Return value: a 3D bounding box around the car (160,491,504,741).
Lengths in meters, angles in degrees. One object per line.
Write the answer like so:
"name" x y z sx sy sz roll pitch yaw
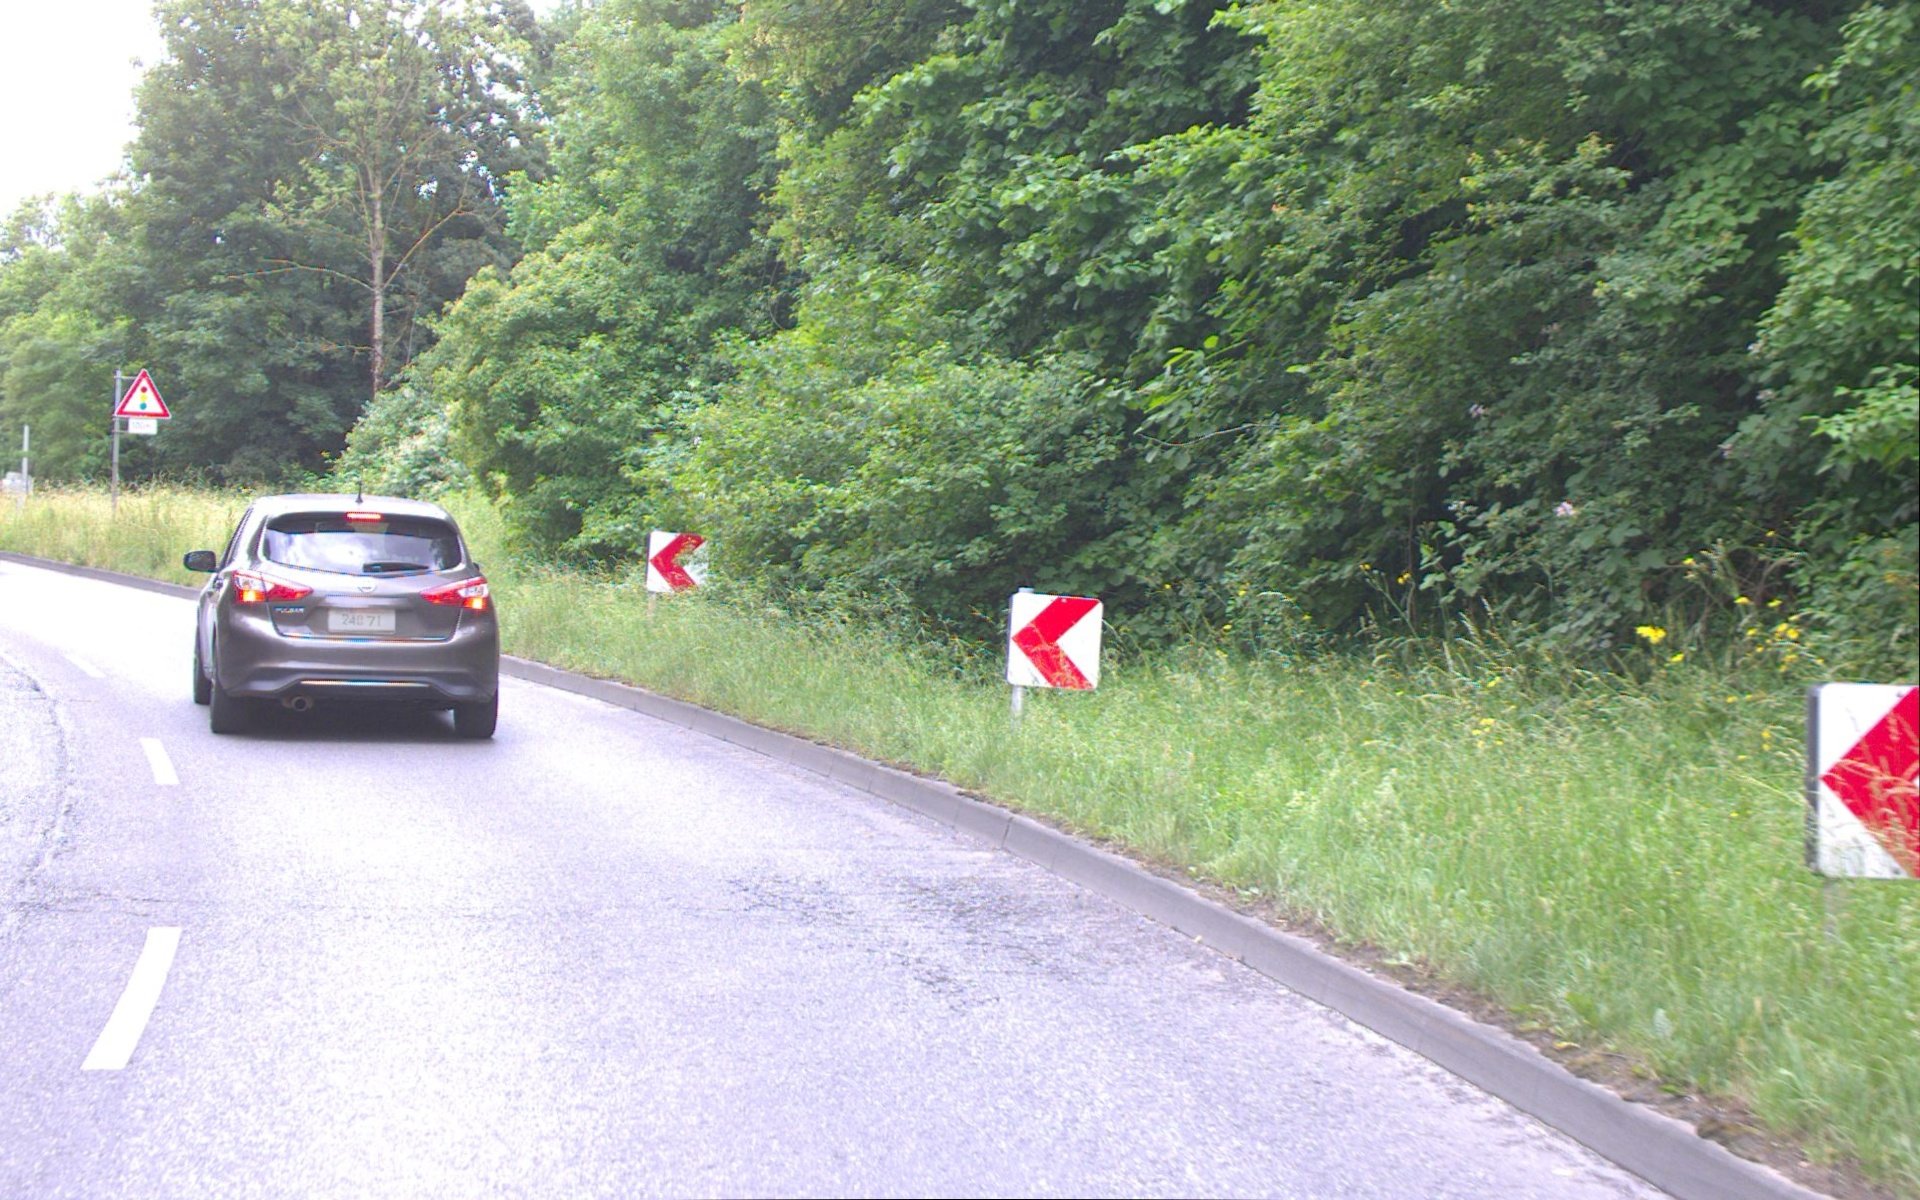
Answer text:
"car" -4.245 0.044 22.770 1.839 1.478 4.002 1 2 -16

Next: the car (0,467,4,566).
"car" -15.104 -1.323 50.051 1.839 1.382 4.002 1 3 -22
